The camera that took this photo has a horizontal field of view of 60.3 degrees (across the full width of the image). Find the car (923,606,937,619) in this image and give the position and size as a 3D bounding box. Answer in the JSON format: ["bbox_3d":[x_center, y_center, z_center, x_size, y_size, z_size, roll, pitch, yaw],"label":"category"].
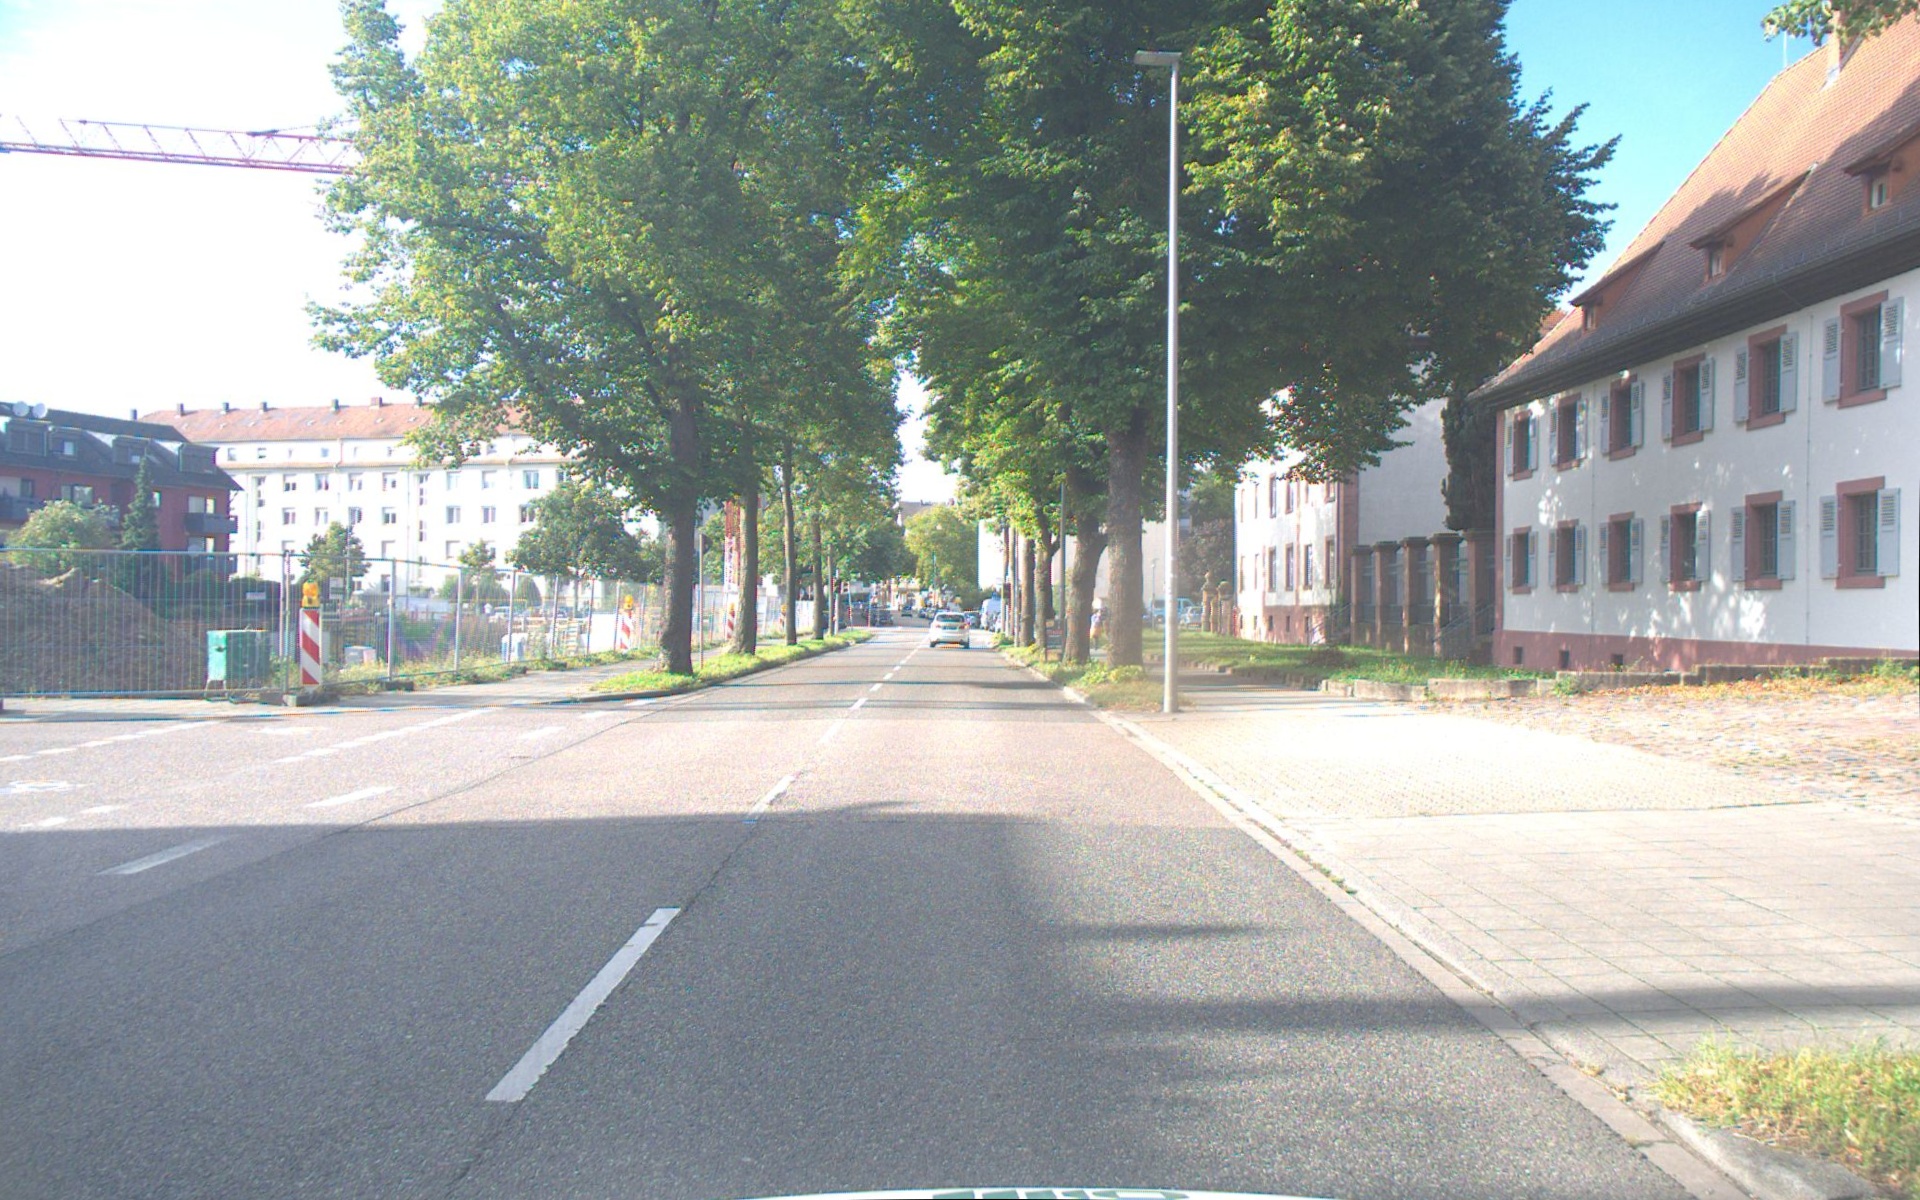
[{"bbox_3d":[-4.491,1.838,245.752,1.953,1.786,3.999,2,-1,0],"label":"car"}]

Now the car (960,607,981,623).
[{"bbox_3d":[1.056,1.509,166.853,1.953,1.557,3.999,0,0,-2],"label":"car"}]

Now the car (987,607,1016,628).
[{"bbox_3d":[3.294,1.377,131.524,1.954,1.644,4.404,0,0,-4],"label":"car"}]

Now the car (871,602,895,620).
[{"bbox_3d":[-7.150,0.983,153.760,1.955,1.668,3.994,0,0,-7],"label":"car"}]

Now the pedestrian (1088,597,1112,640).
[{"bbox_3d":[5.412,0.704,63.909,0.797,1.618,0.769,-2,-1,-2],"label":"pedestrian"}]

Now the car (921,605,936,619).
[{"bbox_3d":[-4.303,1.608,225.013,1.953,1.786,3.999,2,-1,0],"label":"car"}]

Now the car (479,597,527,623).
[{"bbox_3d":[-36.566,0.826,132.343,1.951,2.049,4.003,0,0,14],"label":"car"}]

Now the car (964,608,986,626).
[{"bbox_3d":[1.395,1.624,159.062,1.953,1.601,3.999,0,0,-2],"label":"car"}]

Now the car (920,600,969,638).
[{"bbox_3d":[-0.733,0.854,74.546,1.954,1.582,4.270,2,-1,-4],"label":"car"}]

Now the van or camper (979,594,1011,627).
[{"bbox_3d":[2.863,0.876,137.557,2.166,2.653,5.366,0,0,-5],"label":"van or camper"}]

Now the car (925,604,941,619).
[{"bbox_3d":[-3.391,1.508,211.858,1.953,1.786,3.999,2,-1,0],"label":"car"}]

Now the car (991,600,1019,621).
[{"bbox_3d":[3.326,0.821,123.665,1.974,1.501,4.802,-1,-1,0],"label":"car"}]

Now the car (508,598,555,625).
[{"bbox_3d":[-34.151,0.907,131.922,1.951,2.049,4.003,0,0,14],"label":"car"}]

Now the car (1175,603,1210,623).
[{"bbox_3d":[17.802,0.996,126.777,1.954,1.467,3.997,0,0,-3],"label":"car"}]

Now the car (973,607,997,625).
[{"bbox_3d":[2.252,1.426,148.472,1.953,1.601,3.999,0,0,-2],"label":"car"}]
